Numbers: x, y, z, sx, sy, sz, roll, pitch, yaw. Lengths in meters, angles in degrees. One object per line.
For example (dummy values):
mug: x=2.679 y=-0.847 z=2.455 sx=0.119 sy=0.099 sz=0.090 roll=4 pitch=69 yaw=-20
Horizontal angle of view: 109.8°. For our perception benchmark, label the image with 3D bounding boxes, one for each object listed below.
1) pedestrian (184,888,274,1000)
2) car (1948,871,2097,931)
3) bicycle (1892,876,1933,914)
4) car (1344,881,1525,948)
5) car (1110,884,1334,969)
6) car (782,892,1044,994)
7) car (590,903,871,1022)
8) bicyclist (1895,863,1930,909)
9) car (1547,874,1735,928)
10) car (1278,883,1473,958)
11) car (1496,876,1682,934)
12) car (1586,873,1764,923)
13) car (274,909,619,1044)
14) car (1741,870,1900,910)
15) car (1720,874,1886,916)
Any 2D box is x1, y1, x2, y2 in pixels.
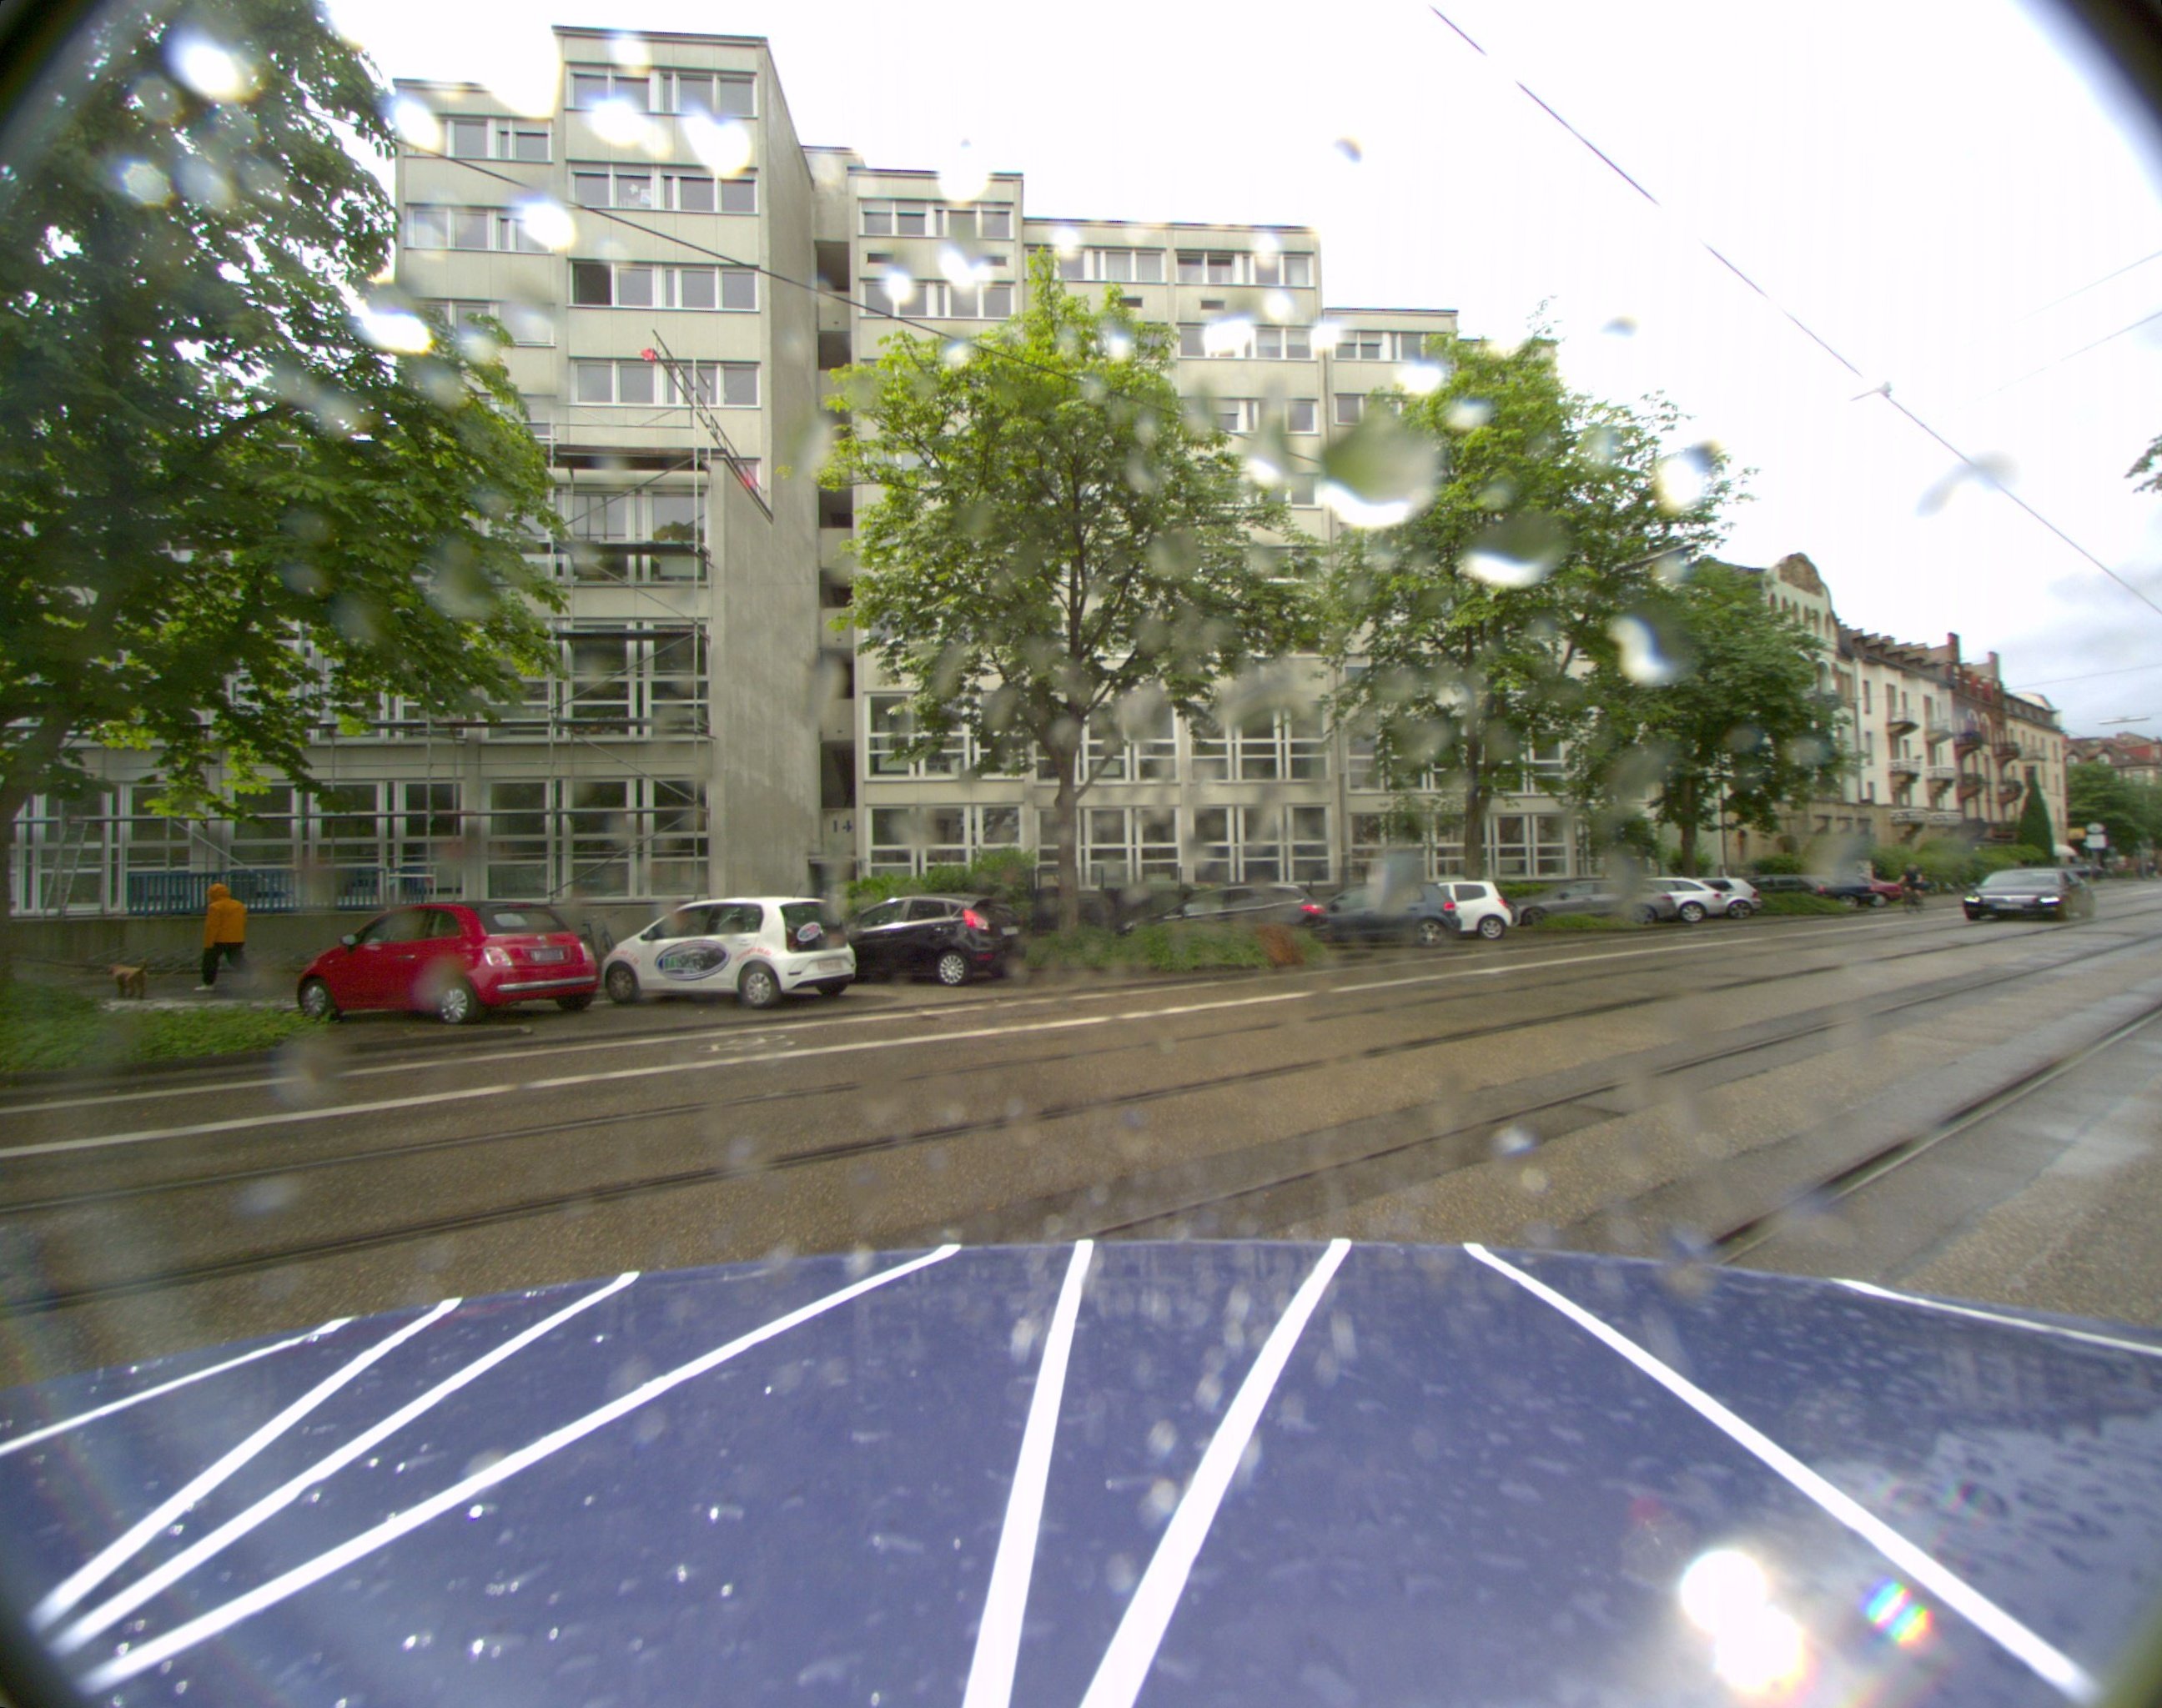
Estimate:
pedestrian: x=-13.912 y=1.456 z=12.420 sx=0.837 sy=1.732 sz=0.708 roll=-4 pitch=-3 yaw=20
car: x=27.456 y=1.342 z=22.140 sx=4.771 sy=1.471 sz=1.996 roll=-1 pitch=-4 yaw=-31
bicycle: x=29.839 y=1.469 z=27.257 sx=1.872 sy=1.258 sz=0.644 roll=-1 pitch=-3 yaw=-35
car: x=8.877 y=1.533 z=19.421 sx=3.875 sy=1.444 sz=1.781 roll=-4 pitch=-3 yaw=15
car: x=2.999 y=1.542 z=16.242 sx=4.363 sy=1.545 sz=1.881 roll=-4 pitch=-4 yaw=15
car: x=-2.837 y=1.474 z=12.864 sx=3.970 sy=1.471 sz=1.820 roll=-4 pitch=-3 yaw=23
car: x=-4.989 y=1.475 z=10.916 sx=3.400 sy=1.443 sz=1.713 roll=-2 pitch=-2 yaw=19
bicyclist: x=29.848 y=1.158 z=27.286 sx=0.675 sy=1.607 sz=0.644 roll=-1 pitch=-3 yaw=-34
car: x=17.704 y=1.491 z=24.276 sx=4.386 sy=1.443 sz=1.888 roll=-4 pitch=-3 yaw=16
car: x=6.585 y=1.511 z=17.414 sx=3.875 sy=1.444 sz=1.826 roll=-4 pitch=-3 yaw=15
car: x=15.027 y=1.521 z=22.752 sx=4.199 sy=1.443 sz=1.817 roll=-4 pitch=-3 yaw=16
car: x=20.213 y=1.522 z=26.091 sx=4.364 sy=1.443 sz=1.909 roll=-4 pitch=-3 yaw=16
car: x=-8.025 y=1.476 z=9.719 sx=3.401 sy=1.460 sz=1.745 roll=-2 pitch=-3 yaw=16
car: x=31.536 y=1.561 z=32.605 sx=4.431 sy=1.443 sz=1.910 roll=-4 pitch=-3 yaw=24
car: x=29.133 y=1.653 z=30.854 sx=4.431 sy=1.443 sz=1.910 roll=-4 pitch=-3 yaw=24
